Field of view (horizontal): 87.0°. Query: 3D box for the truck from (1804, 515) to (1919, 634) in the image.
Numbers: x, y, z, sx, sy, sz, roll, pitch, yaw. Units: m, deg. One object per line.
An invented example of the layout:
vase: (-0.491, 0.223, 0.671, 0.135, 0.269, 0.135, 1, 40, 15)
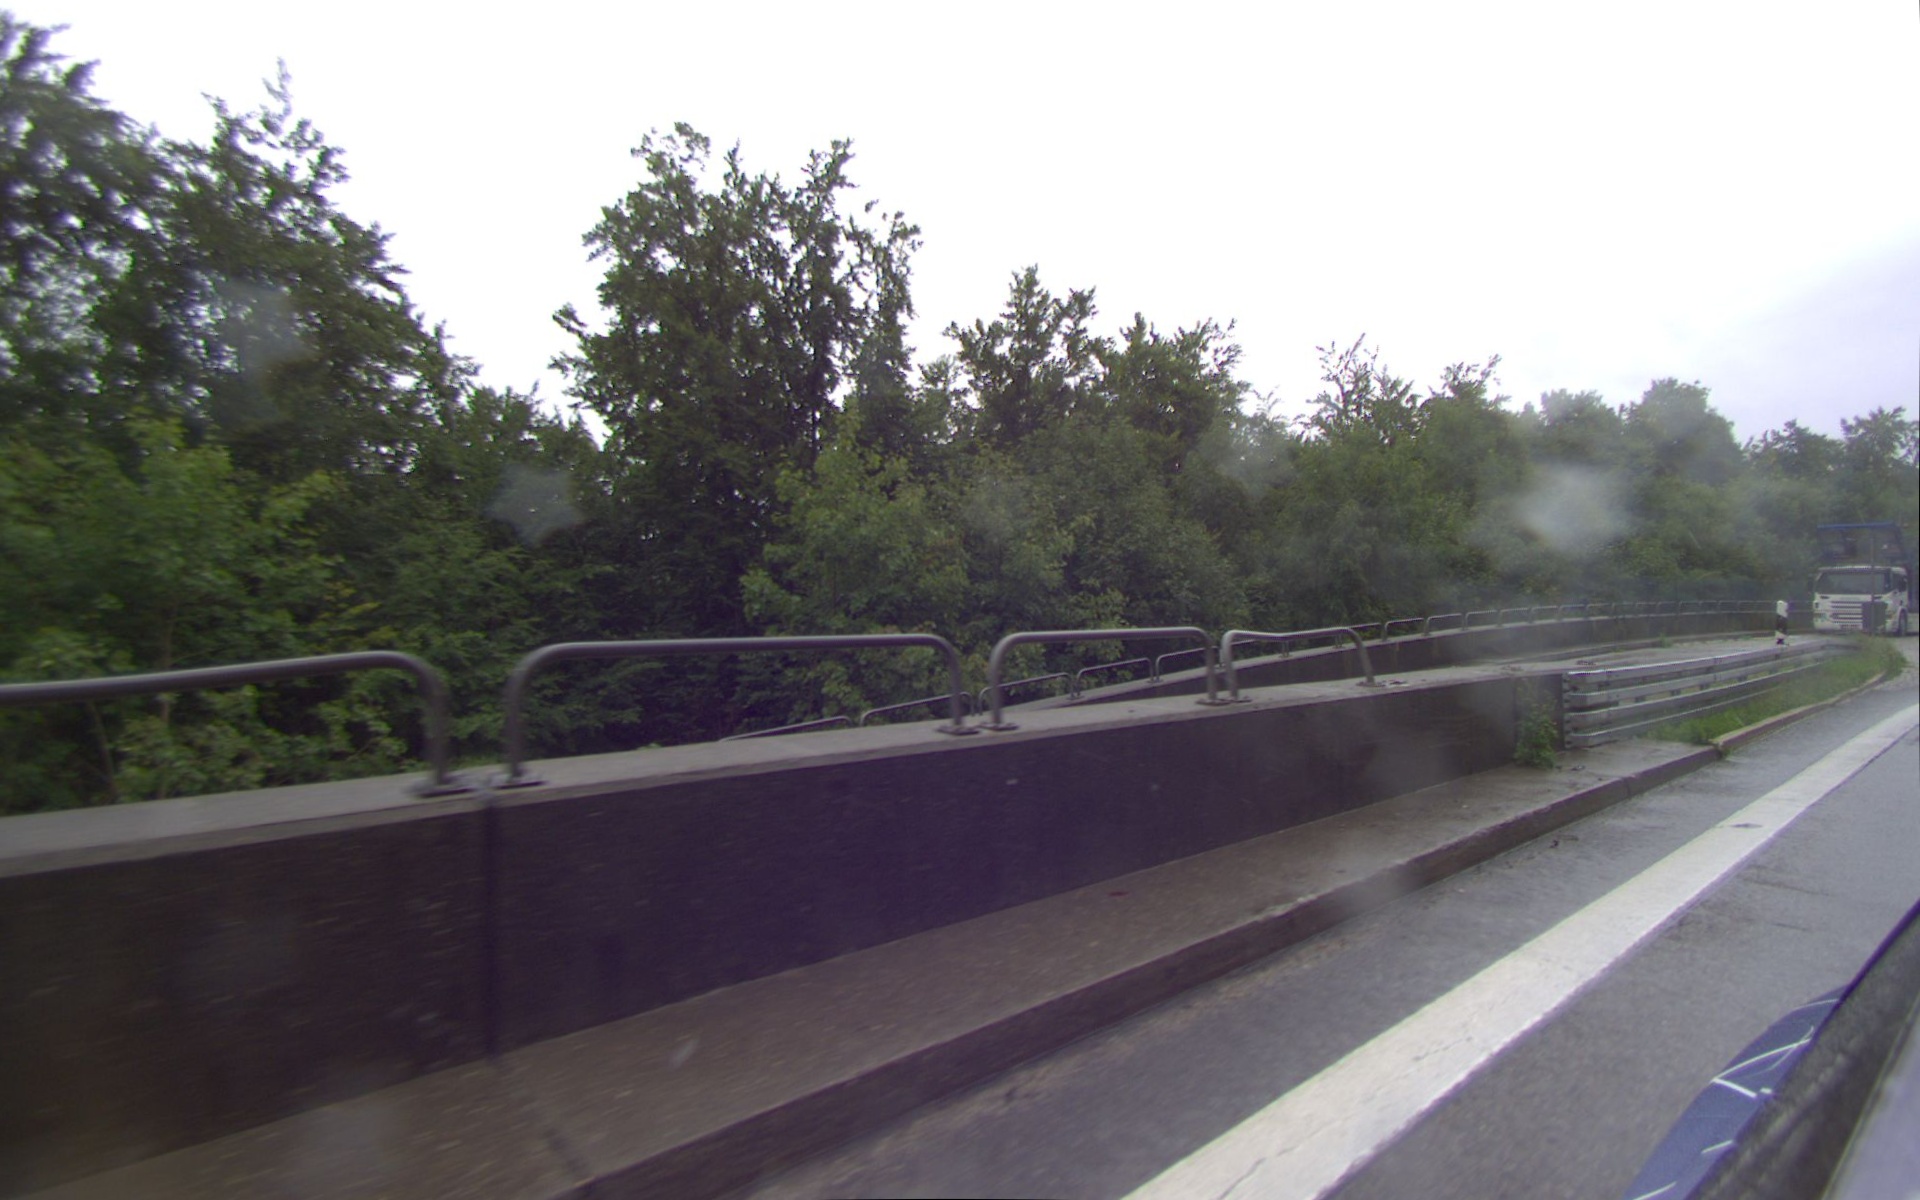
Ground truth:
truck: (36.278, -1.019, 39.684, 6.746, 4.297, 2.908, -1, 2, -32)

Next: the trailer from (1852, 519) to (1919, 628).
trailer: (43.680, -1.147, 44.428, 14.411, 4.297, 2.904, -1, 2, -33)
